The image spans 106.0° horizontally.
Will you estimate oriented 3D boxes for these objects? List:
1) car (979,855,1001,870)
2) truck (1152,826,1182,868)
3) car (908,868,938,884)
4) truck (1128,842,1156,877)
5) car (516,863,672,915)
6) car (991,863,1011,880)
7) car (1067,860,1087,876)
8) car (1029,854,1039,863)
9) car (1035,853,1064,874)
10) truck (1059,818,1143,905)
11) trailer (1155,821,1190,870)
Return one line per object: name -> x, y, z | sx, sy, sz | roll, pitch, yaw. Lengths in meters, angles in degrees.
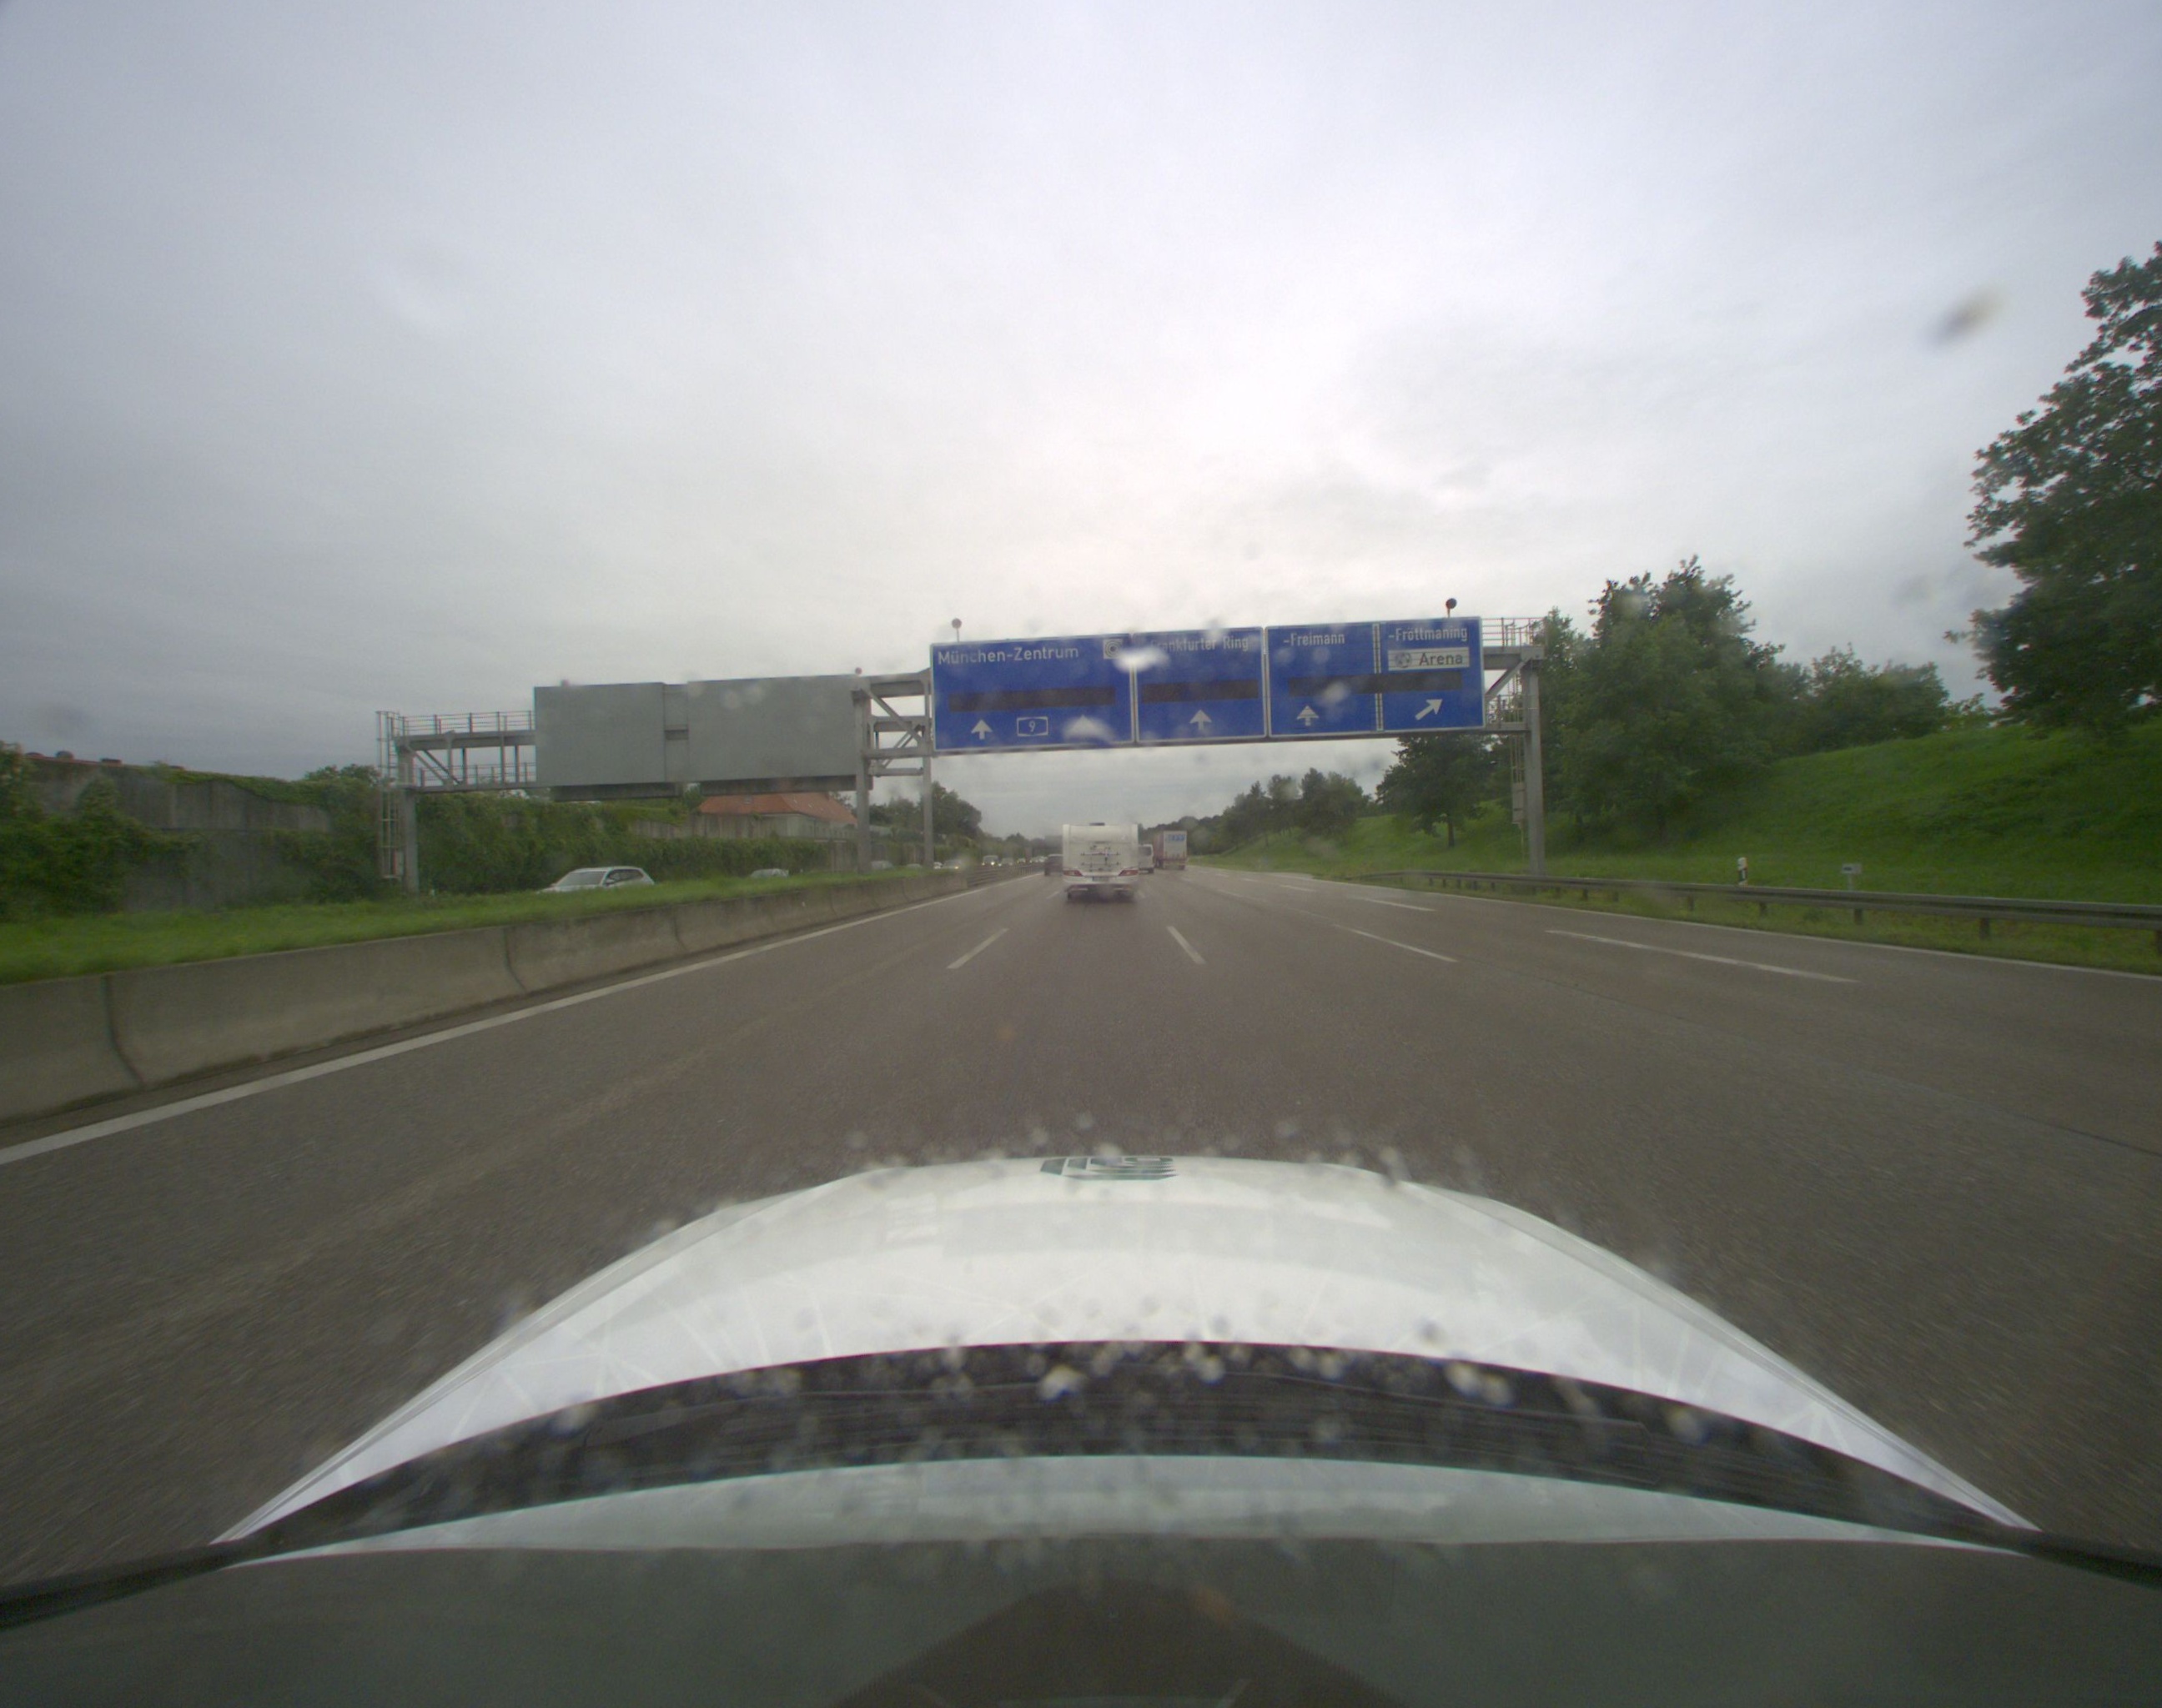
car -> -12.871, 1.216, 115.137 | 2.201, 1.972, 6.273 | 0, 0, 2
truck -> 10.091, -0.787, 96.003 | 3.037, 4.839, 5.852 | 0, -1, 2
car -> -14.141, 1.943, 73.102 | 1.698, 1.365, 4.237 | 0, 0, 2
truck -> 5.056, 0.482, 68.098 | 2.046, 2.770, 5.550 | 0, -1, 1
car -> -15.690, 1.080, 26.618 | 1.986, 1.454, 4.936 | -1, 0, 2
car -> -9.599, 2.074, 98.155 | 1.847, 2.014, 3.853 | 0, -1, 2
car -> -0.445, 1.589, 92.420 | 2.120, 1.706, 4.113 | 2, -1, 1
car -> -10.369, 0.937, 179.794 | 1.926, 2.013, 4.732 | -1, 0, 0
car -> -2.508, 0.758, 65.258 | 1.986, 1.600, 5.124 | 0, 0, 1
truck -> 0.698, 0.246, 28.368 | 2.651, 2.742, 5.078 | 0, -1, 1
trailer -> 9.773, -0.826, 88.168 | 3.087, 4.922, 11.797 | 0, 0, 3
